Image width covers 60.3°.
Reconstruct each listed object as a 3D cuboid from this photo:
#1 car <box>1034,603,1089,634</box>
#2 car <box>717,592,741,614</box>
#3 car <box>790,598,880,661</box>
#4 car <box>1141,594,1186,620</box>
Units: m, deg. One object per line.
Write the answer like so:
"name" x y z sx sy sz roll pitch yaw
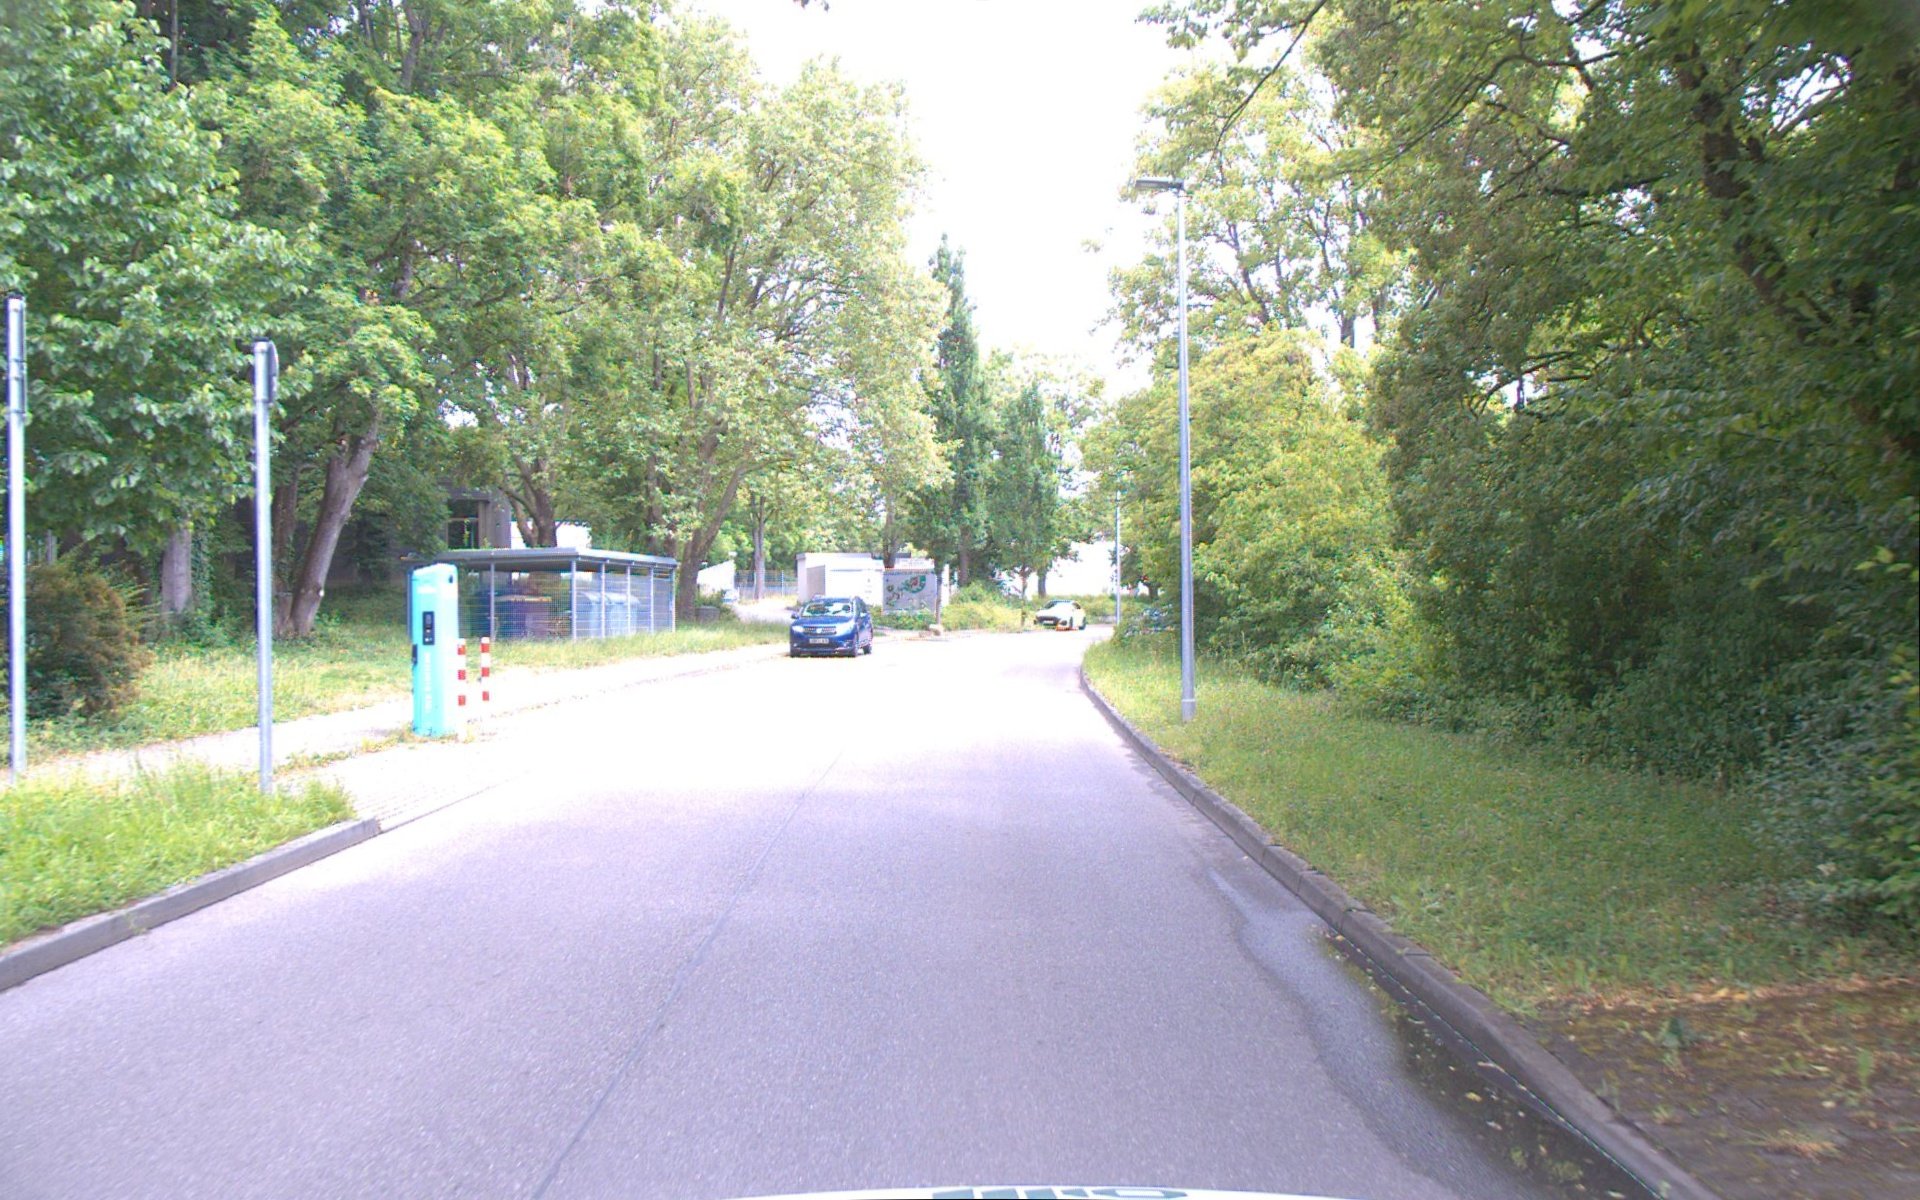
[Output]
"car" 4.981 0.884 80.362 1.664 1.427 4.275 1 0 18
"car" -19.477 0.229 139.596 1.836 1.777 3.994 -1 0 -7
"car" -3.187 0.734 42.987 1.644 1.538 4.434 0 0 5
"car" 11.956 0.428 96.975 1.503 1.484 3.717 0 0 26
